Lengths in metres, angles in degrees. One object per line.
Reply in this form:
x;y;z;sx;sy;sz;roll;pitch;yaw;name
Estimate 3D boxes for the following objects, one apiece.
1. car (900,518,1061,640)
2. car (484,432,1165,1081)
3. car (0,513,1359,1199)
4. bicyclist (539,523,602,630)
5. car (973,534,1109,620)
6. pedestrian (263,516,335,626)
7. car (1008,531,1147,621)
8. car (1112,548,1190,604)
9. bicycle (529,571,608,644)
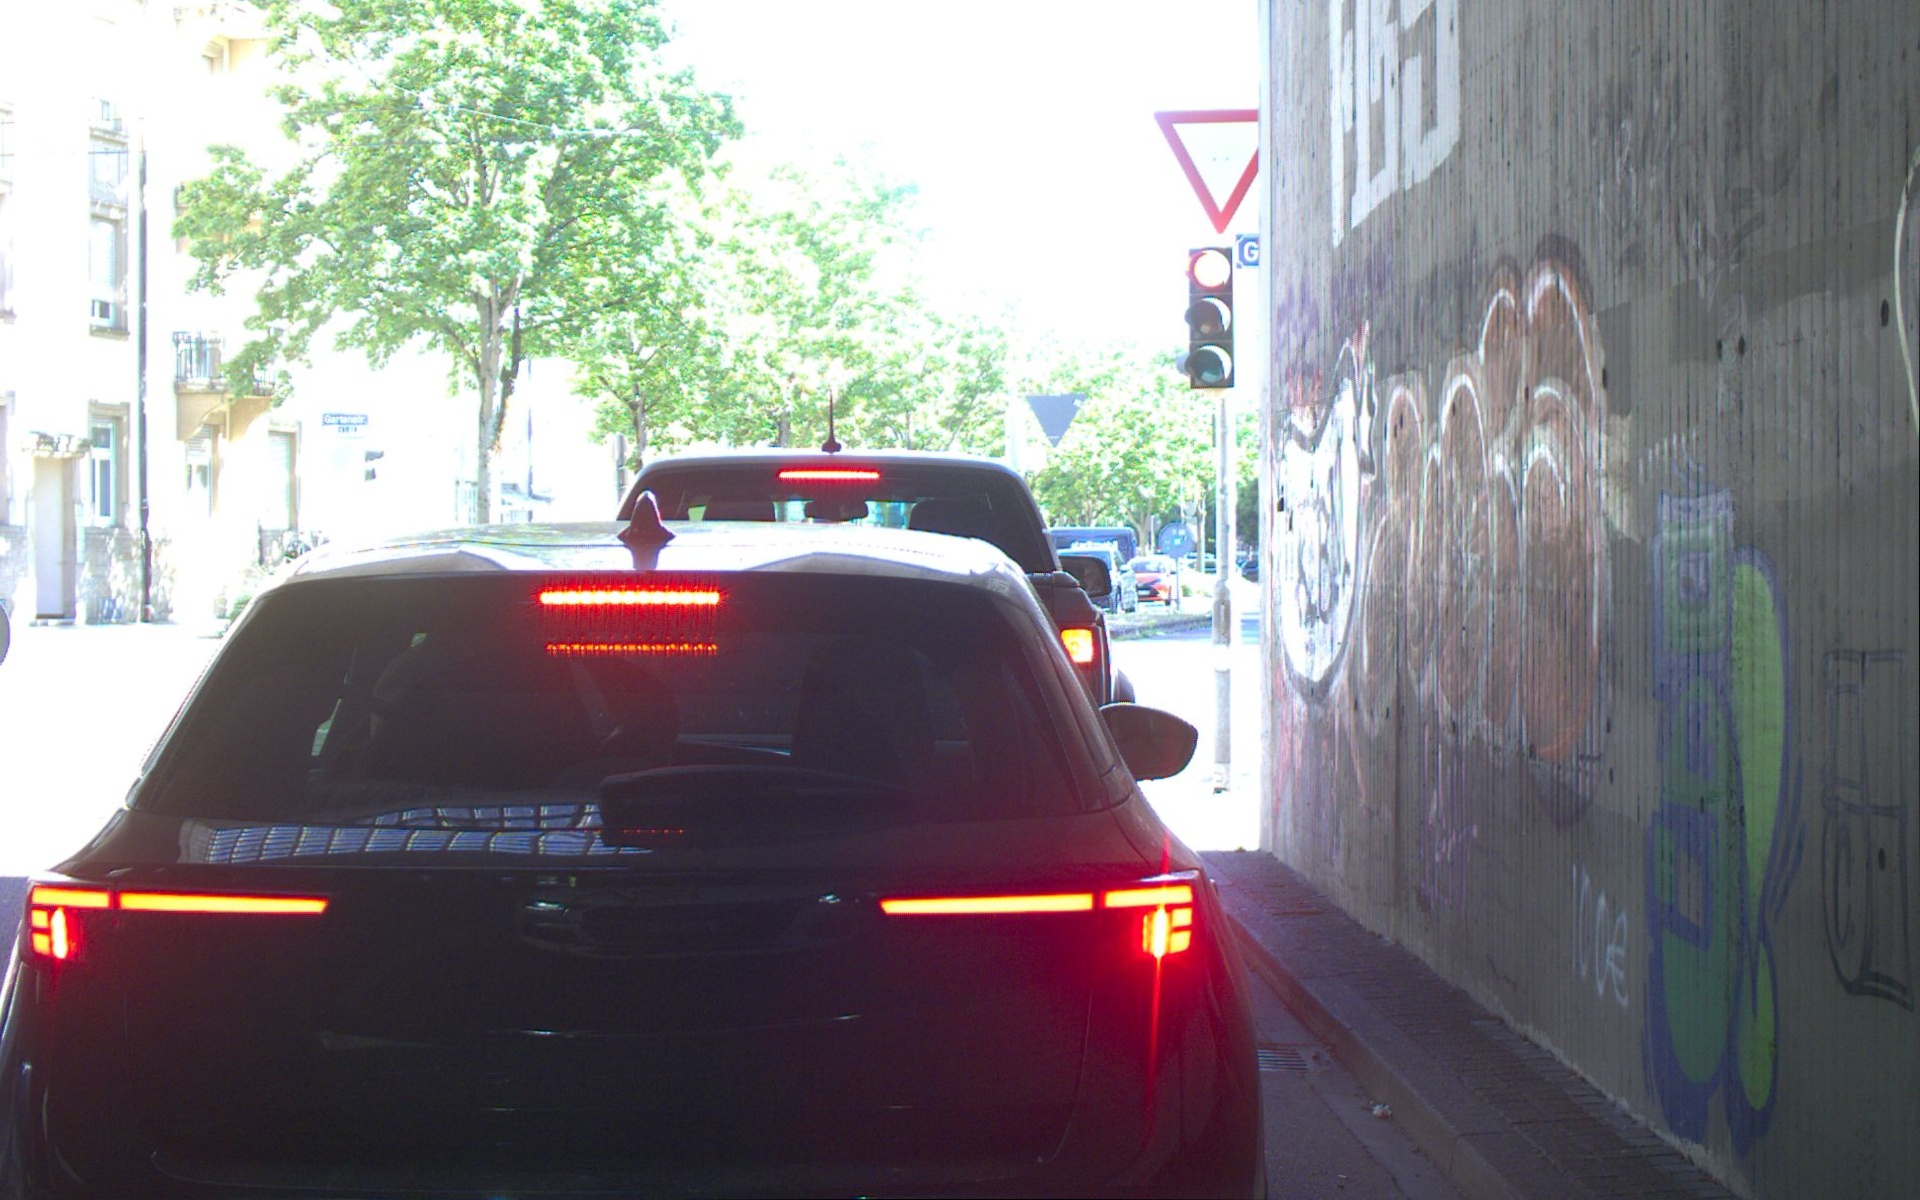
0.299;-0.238;44.165;1.968;1.492;3.896;0;-1;1;car
-0.411;0.414;11.883;1.945;1.853;3.964;0;1;-1;car
-0.490;0.633;6.061;1.882;1.532;3.964;0;1;-1;car
-5.838;-0.355;51.532;0.729;1.576;0.814;1;0;9;bicyclist
1.507;-0.393;62.186;1.969;1.492;3.895;0;-1;9;car
-12.272;-0.546;63.829;0.992;2.007;1.088;0;1;8;pedestrian
2.393;-0.450;68.996;2.221;1.713;4.458;0;-1;10;car
5.823;-0.729;104.663;1.994;1.656;3.999;1;1;8;car
-5.856;0.101;51.506;0.732;1.064;1.688;1;1;9;bicycle
